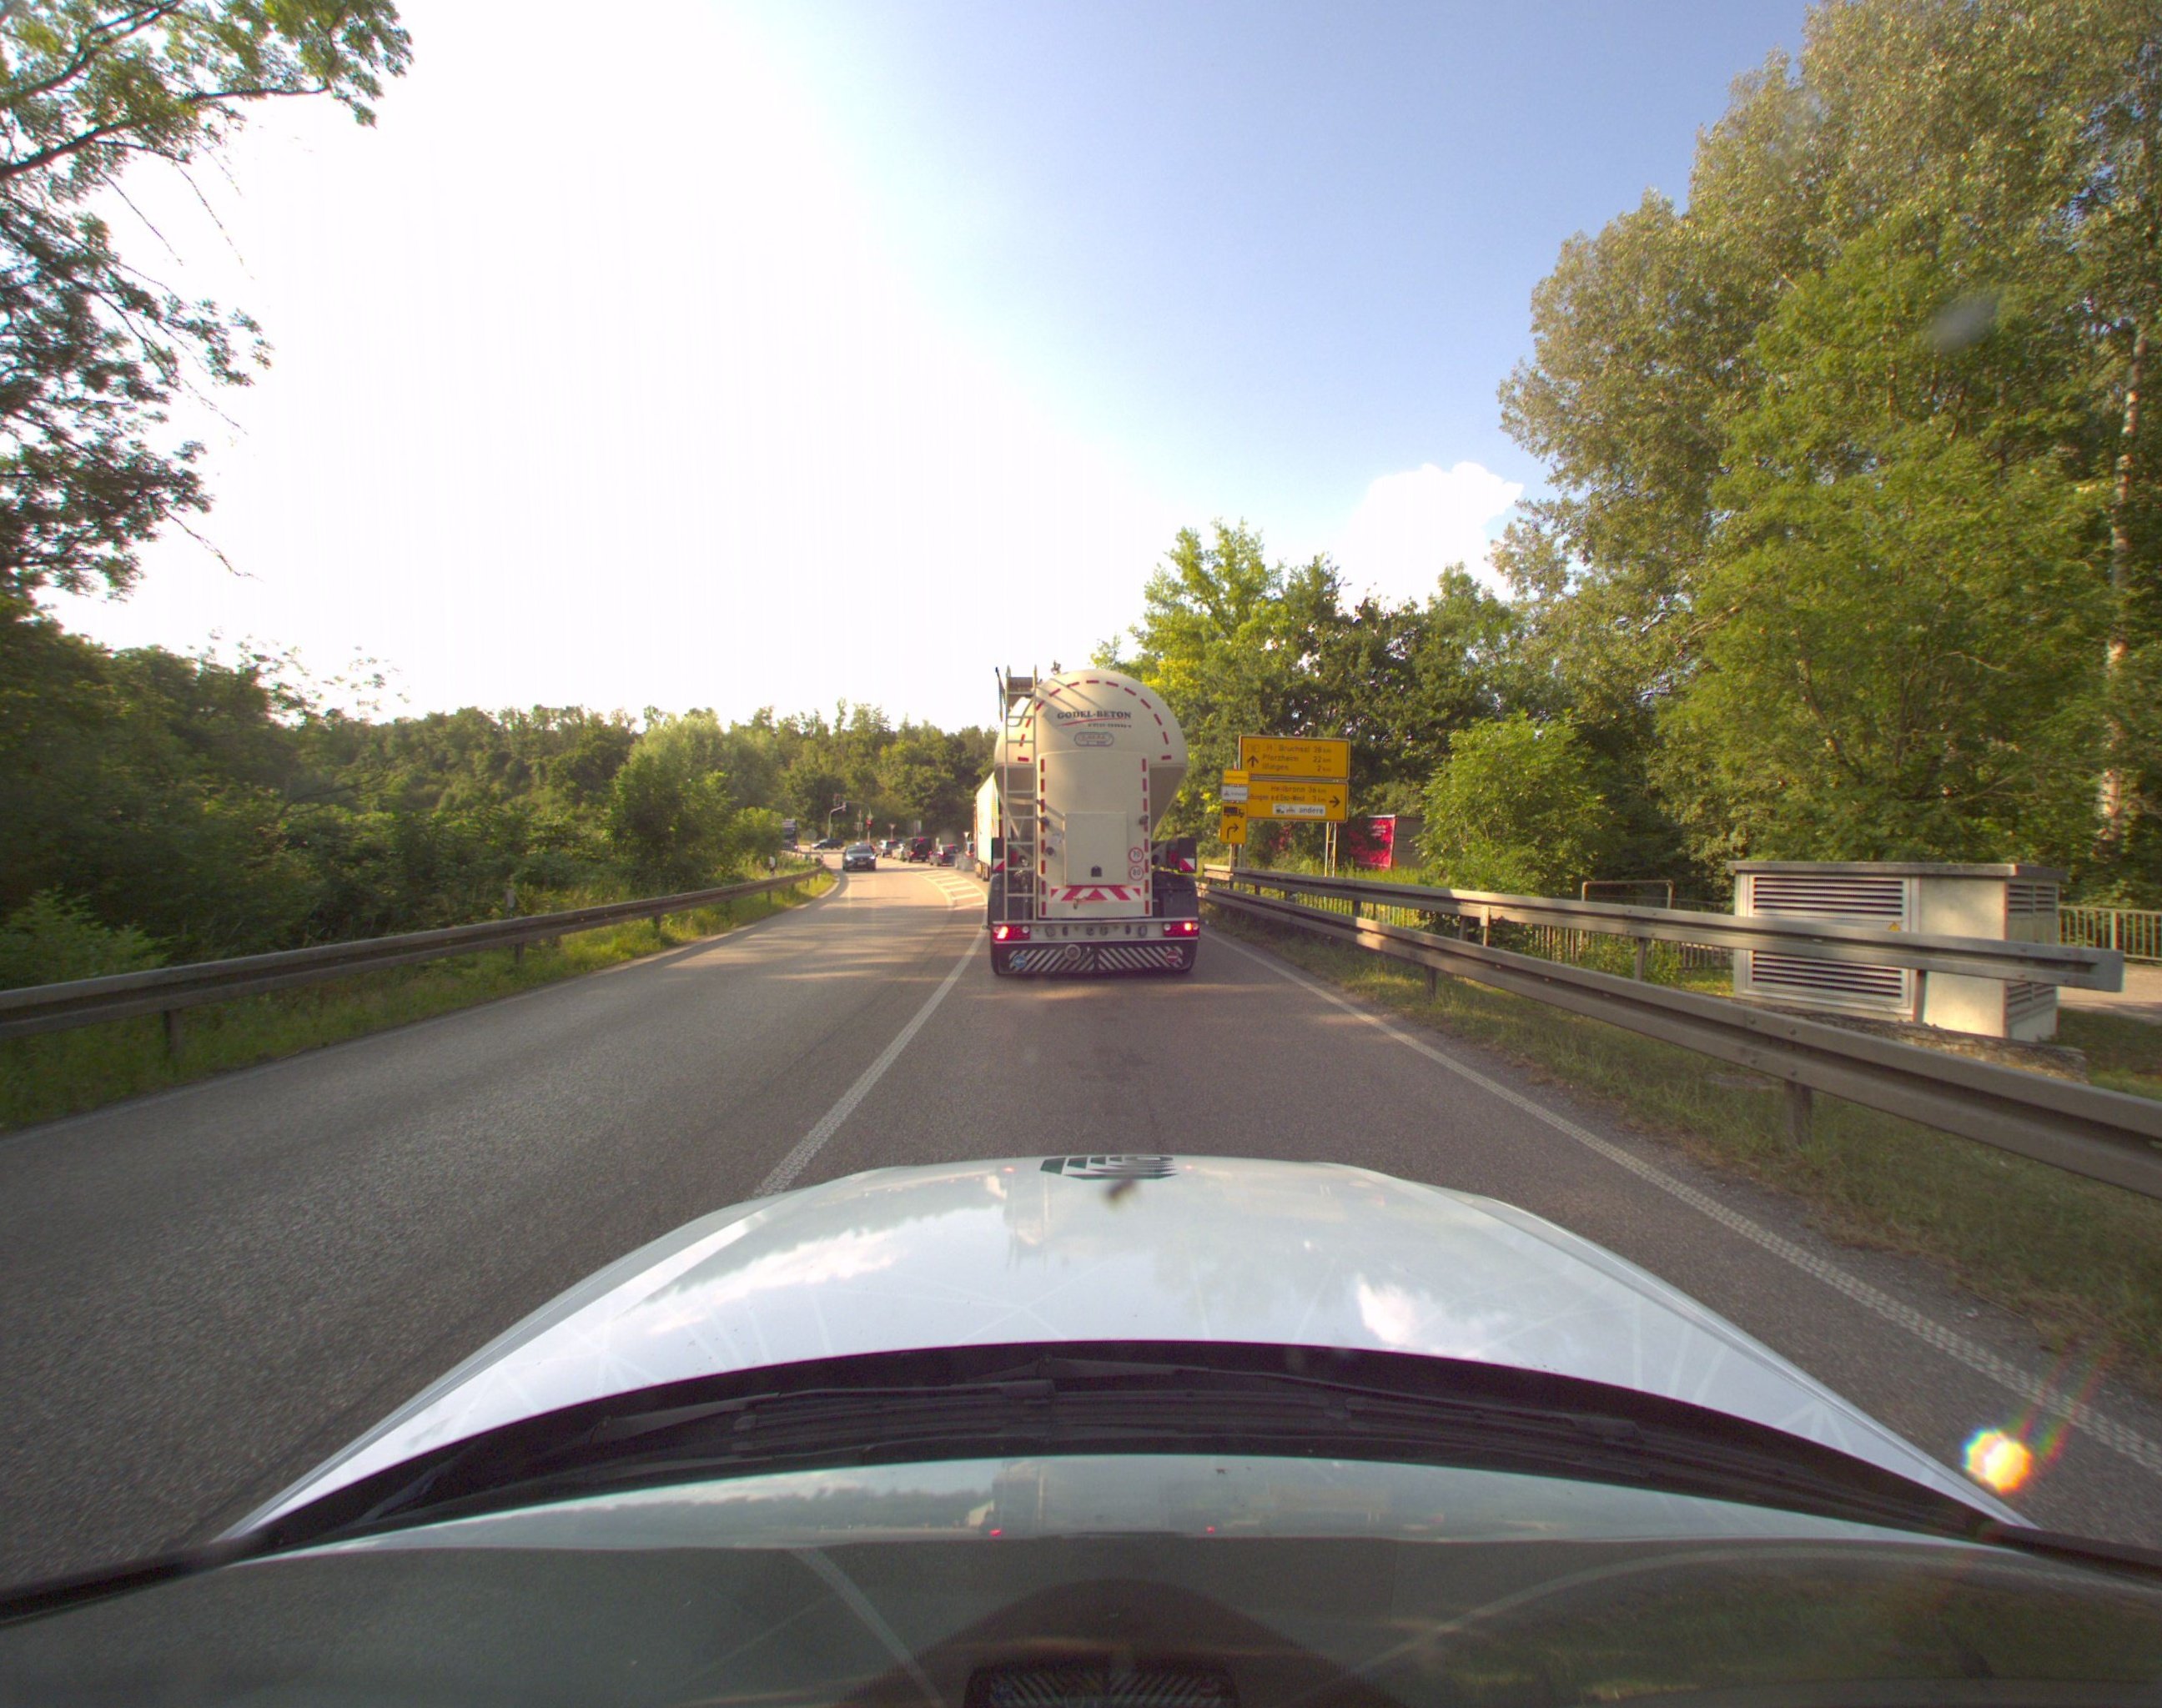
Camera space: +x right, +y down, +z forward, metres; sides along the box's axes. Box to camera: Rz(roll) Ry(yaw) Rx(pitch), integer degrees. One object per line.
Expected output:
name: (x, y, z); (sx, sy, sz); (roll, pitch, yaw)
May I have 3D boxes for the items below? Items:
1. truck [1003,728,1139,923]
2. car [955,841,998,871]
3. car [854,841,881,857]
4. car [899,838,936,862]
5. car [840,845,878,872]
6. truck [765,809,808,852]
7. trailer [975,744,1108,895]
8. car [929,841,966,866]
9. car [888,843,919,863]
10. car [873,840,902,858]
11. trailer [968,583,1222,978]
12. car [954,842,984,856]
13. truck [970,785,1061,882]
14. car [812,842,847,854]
truck: (-0.459, -0.606, 19.946); (2.820, 4.035, 5.883); (0, 0, -5)
car: (-6.180, 0.091, 47.811); (1.872, 1.628, 3.978); (-2, 1, -17)
car: (-22.448, -0.533, 85.603); (1.877, 1.565, 3.966); (1, 0, -27)
car: (-13.079, -0.327, 65.040); (1.966, 1.851, 3.968); (-2, 1, -25)
car: (-13.827, 0.225, 50.555); (1.874, 1.564, 3.973); (-1, 1, -21)
truck: (-33.447, -2.566, 92.207); (3.030, 4.585, 10.145); (0, 0, -29)
trailer: (-2.004, -1.030, 30.957); (3.545, 4.513, 12.941); (1, 0, -10)
car: (-9.250, -0.055, 56.301); (1.873, 1.564, 3.975); (-2, 1, -18)
car: (-15.782, -0.148, 72.263); (1.877, 1.683, 3.967); (1, 0, -26)
car: (-18.559, -0.522, 78.088); (1.877, 1.595, 3.967); (2, 0, -25)
trailer: (-0.041, -0.854, 14.055); (2.880, 4.454, 9.596); (0, 0, -3)
car: (-16.896, -0.823, 123.338); (4.019, 2.013, 1.977); (1, 0, -38)
truck: (-3.230, -0.861, 37.988); (3.452, 4.086, 6.464); (1, 0, -12)
car: (-33.111, -0.799, 107.191); (1.850, 1.556, 4.025); (2, 0, 40)
